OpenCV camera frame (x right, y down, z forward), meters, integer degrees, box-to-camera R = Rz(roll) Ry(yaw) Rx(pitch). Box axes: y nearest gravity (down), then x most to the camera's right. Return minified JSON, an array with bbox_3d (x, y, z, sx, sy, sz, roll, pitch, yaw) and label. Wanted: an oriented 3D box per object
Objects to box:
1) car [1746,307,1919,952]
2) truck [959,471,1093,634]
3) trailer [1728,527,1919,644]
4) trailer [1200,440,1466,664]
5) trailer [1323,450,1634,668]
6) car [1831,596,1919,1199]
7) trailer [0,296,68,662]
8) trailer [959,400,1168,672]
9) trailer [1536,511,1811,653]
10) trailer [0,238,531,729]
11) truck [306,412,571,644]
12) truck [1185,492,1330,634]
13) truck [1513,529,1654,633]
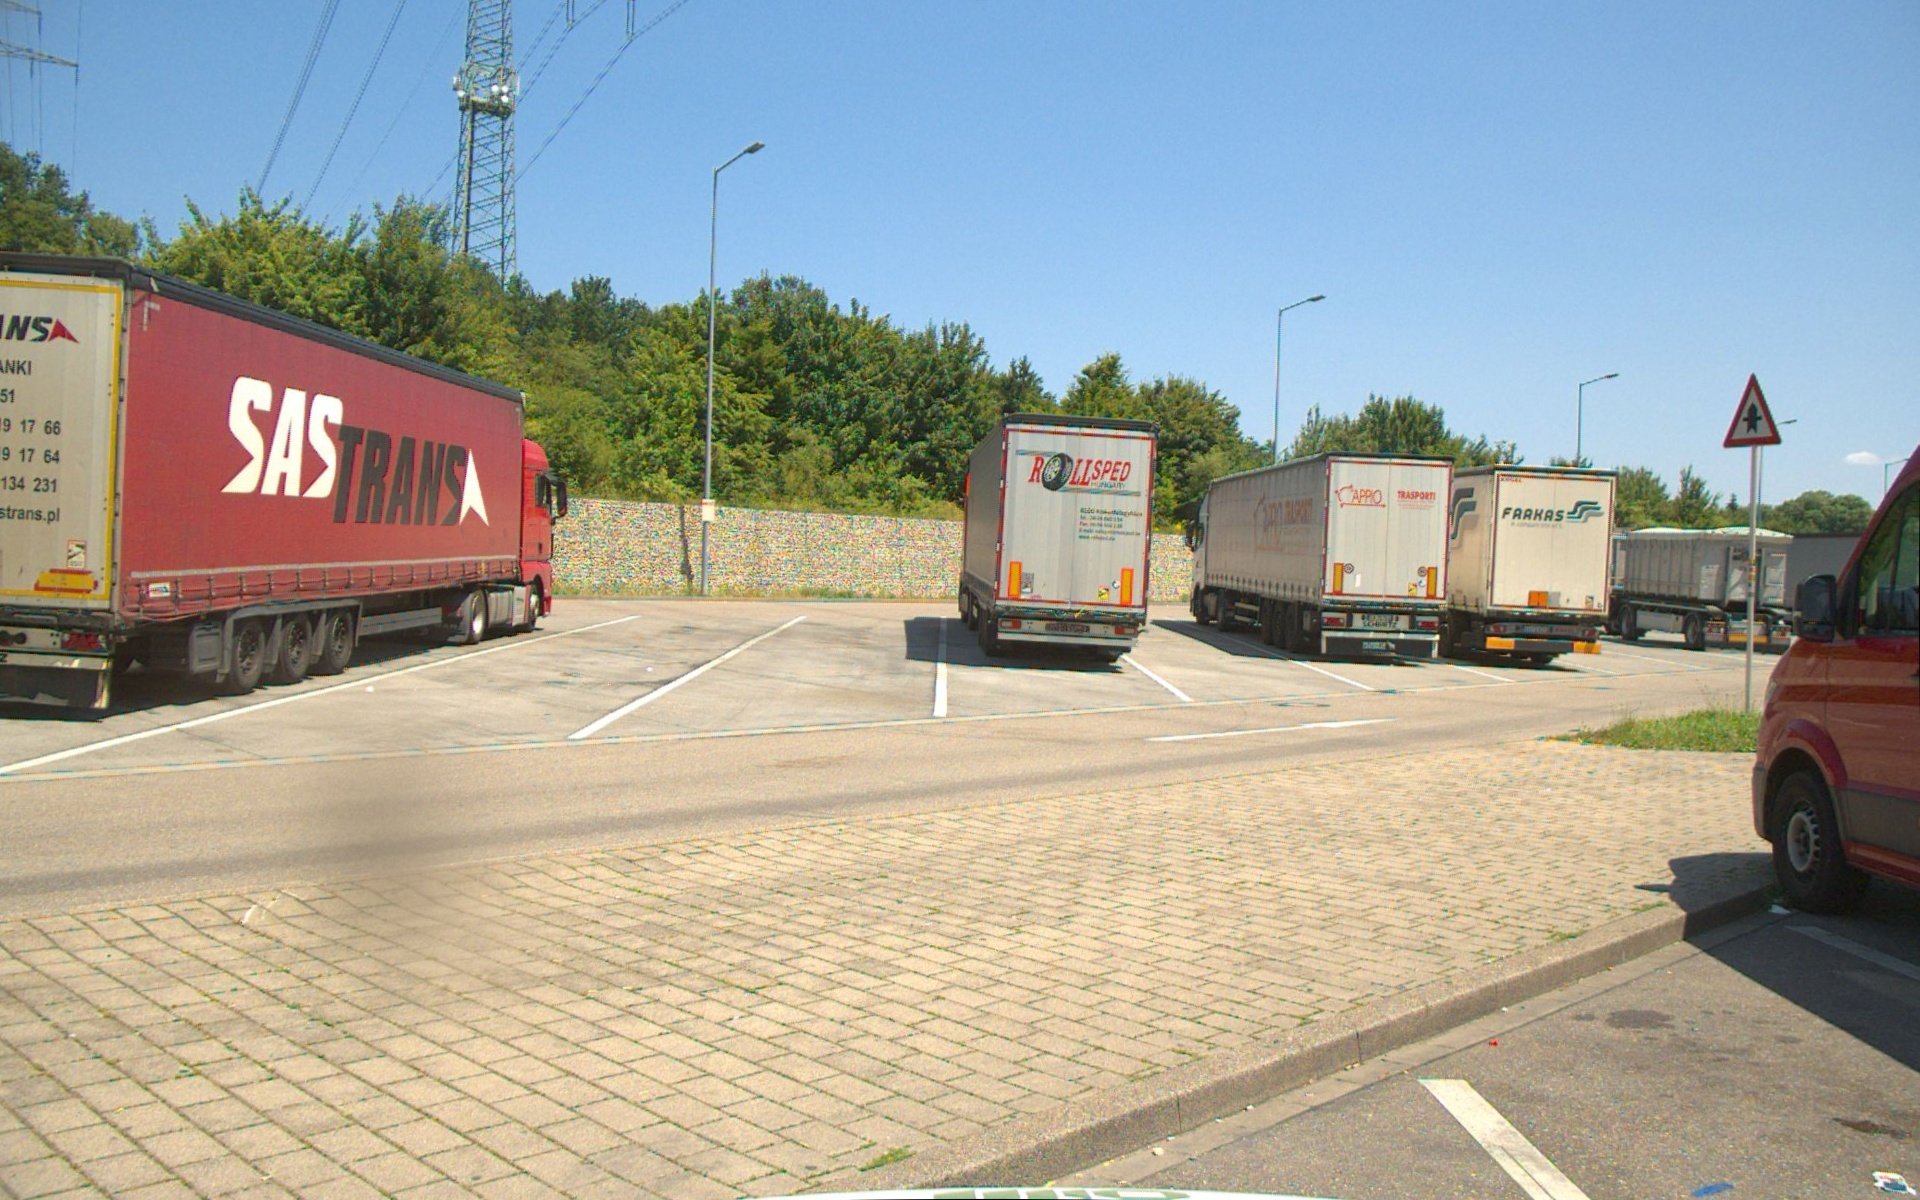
[{"bbox_3d":[5.004,0.161,5.541,2.023,2.742,6.397,1,1,4],"label":"car"},{"bbox_3d":[1.480,-1.146,39.830,2.794,3.544,5.482,2,2,-1],"label":"truck"},{"bbox_3d":[34.943,-0.656,65.387,2.780,4.119,13.726,2,2,1],"label":"trailer"},{"bbox_3d":[8.209,-1.143,38.808,2.781,4.204,13.722,2,2,-1],"label":"trailer"},{"bbox_3d":[11.769,-1.023,39.613,2.781,4.204,13.722,2,2,-1],"label":"trailer"},{"bbox_3d":[2.592,0.795,1.137,1.703,1.508,3.813,1,1,-6],"label":"car"},{"bbox_3d":[-12.530,-1.307,15.687,2.673,4.282,10.170,2,2,-1],"label":"trailer"},{"bbox_3d":[1.647,-1.233,33.221,2.848,4.204,13.720,2,2,-1],"label":"trailer"},{"bbox_3d":[21.928,-0.693,52.186,2.780,3.781,13.726,2,2,1],"label":"trailer"},{"bbox_3d":[-8.684,-1.296,21.170,2.848,4.203,13.723,2,2,-1],"label":"trailer"},{"bbox_3d":[-8.796,-1.206,28.605,2.794,3.487,5.482,2,2,-1],"label":"truck"},{"bbox_3d":[8.096,-1.042,45.618,2.794,3.544,5.482,2,2,-1],"label":"truck"},{"bbox_3d":[22.010,-0.723,58.690,2.794,3.423,5.484,2,2,0],"label":"truck"}]
